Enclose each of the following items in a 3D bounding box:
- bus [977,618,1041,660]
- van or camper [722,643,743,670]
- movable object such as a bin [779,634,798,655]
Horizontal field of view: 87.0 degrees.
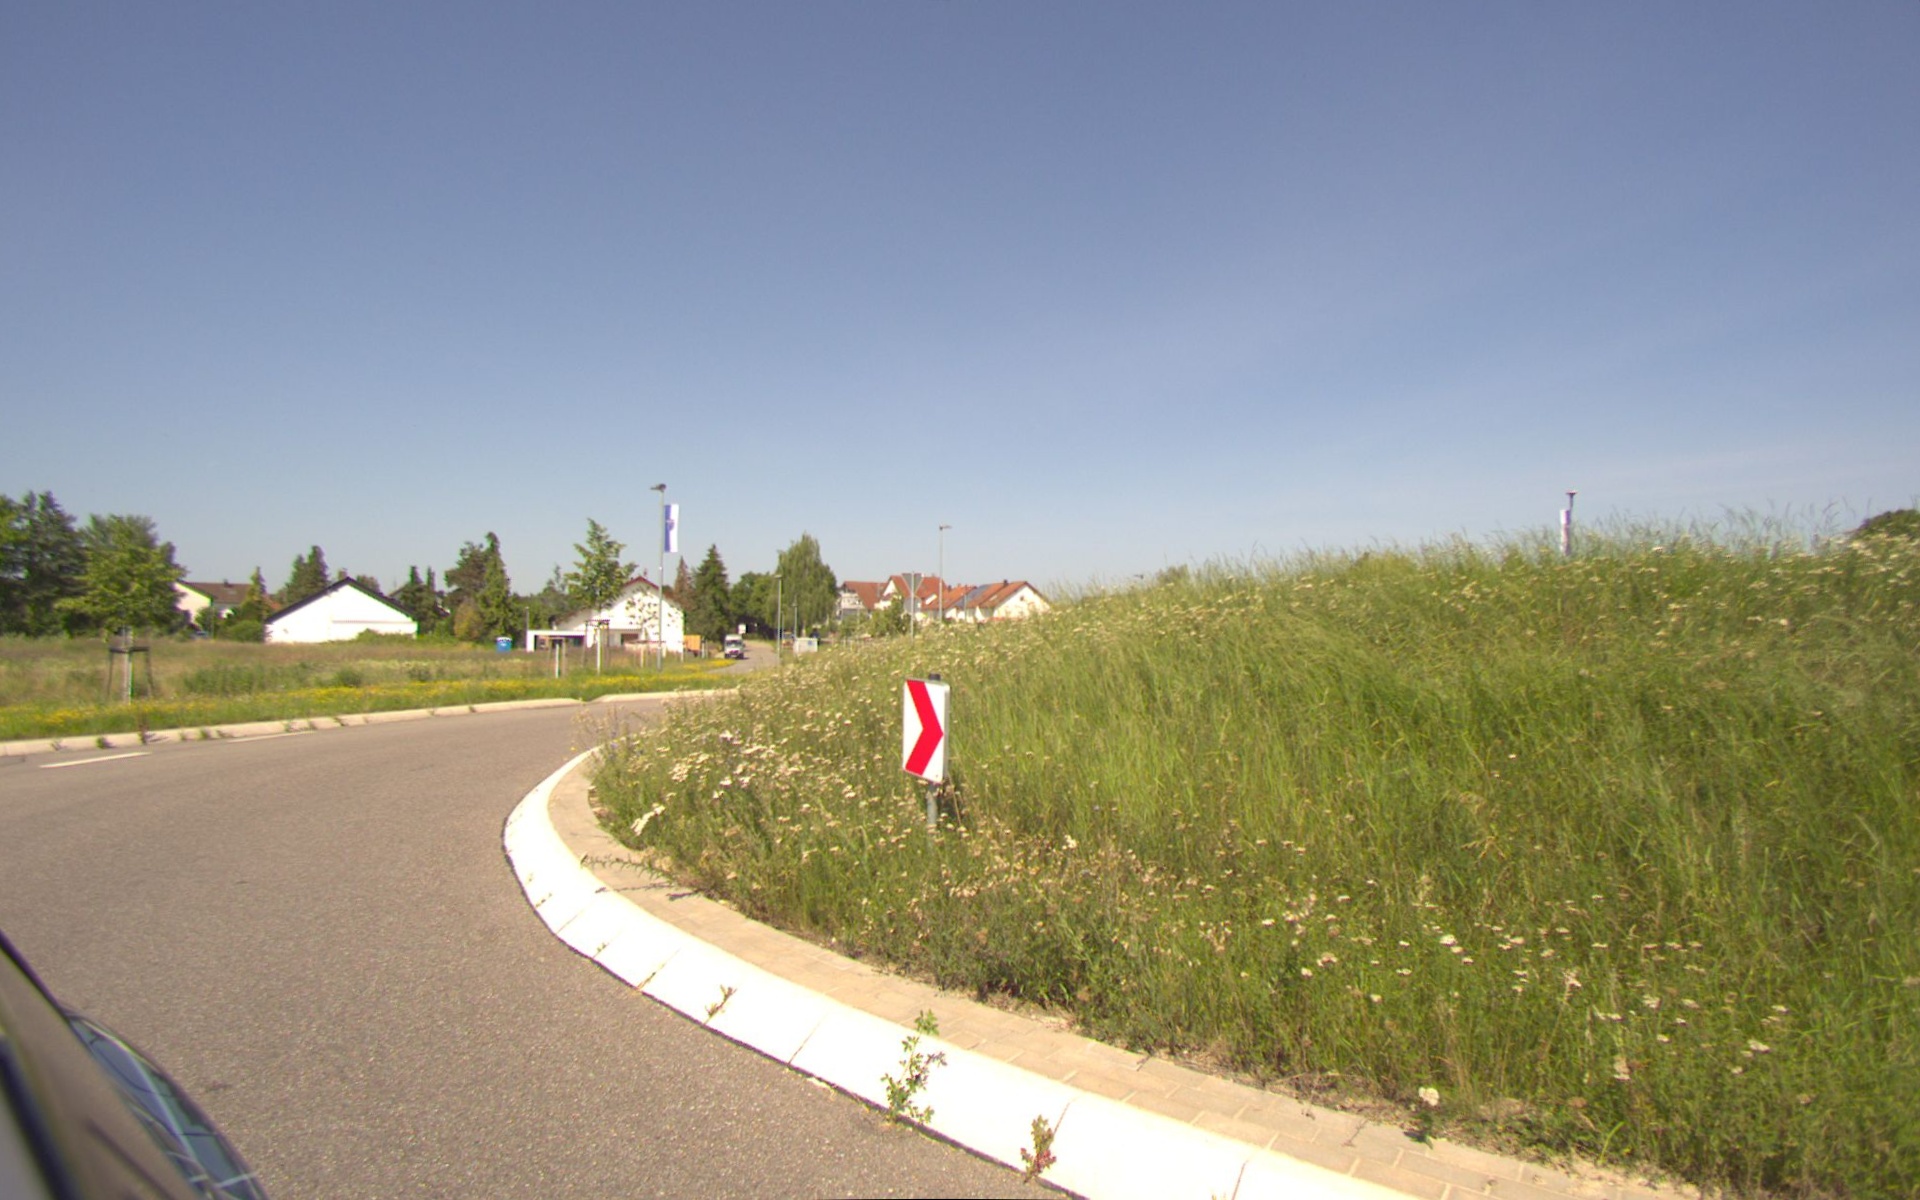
[{"bbox_3d":[4.064,3.424,88.403,2.758,3.312,12.254,3,-3,-10],"label":"bus"},{"bbox_3d":[-23.848,5.853,106.081,2.143,2.620,6.045,0,-2,-13],"label":"van or camper"},{"bbox_3d":[-22.192,5.792,130.937,2.286,2.482,6.960,-1,-3,-11],"label":"movable object such as a bin"}]
